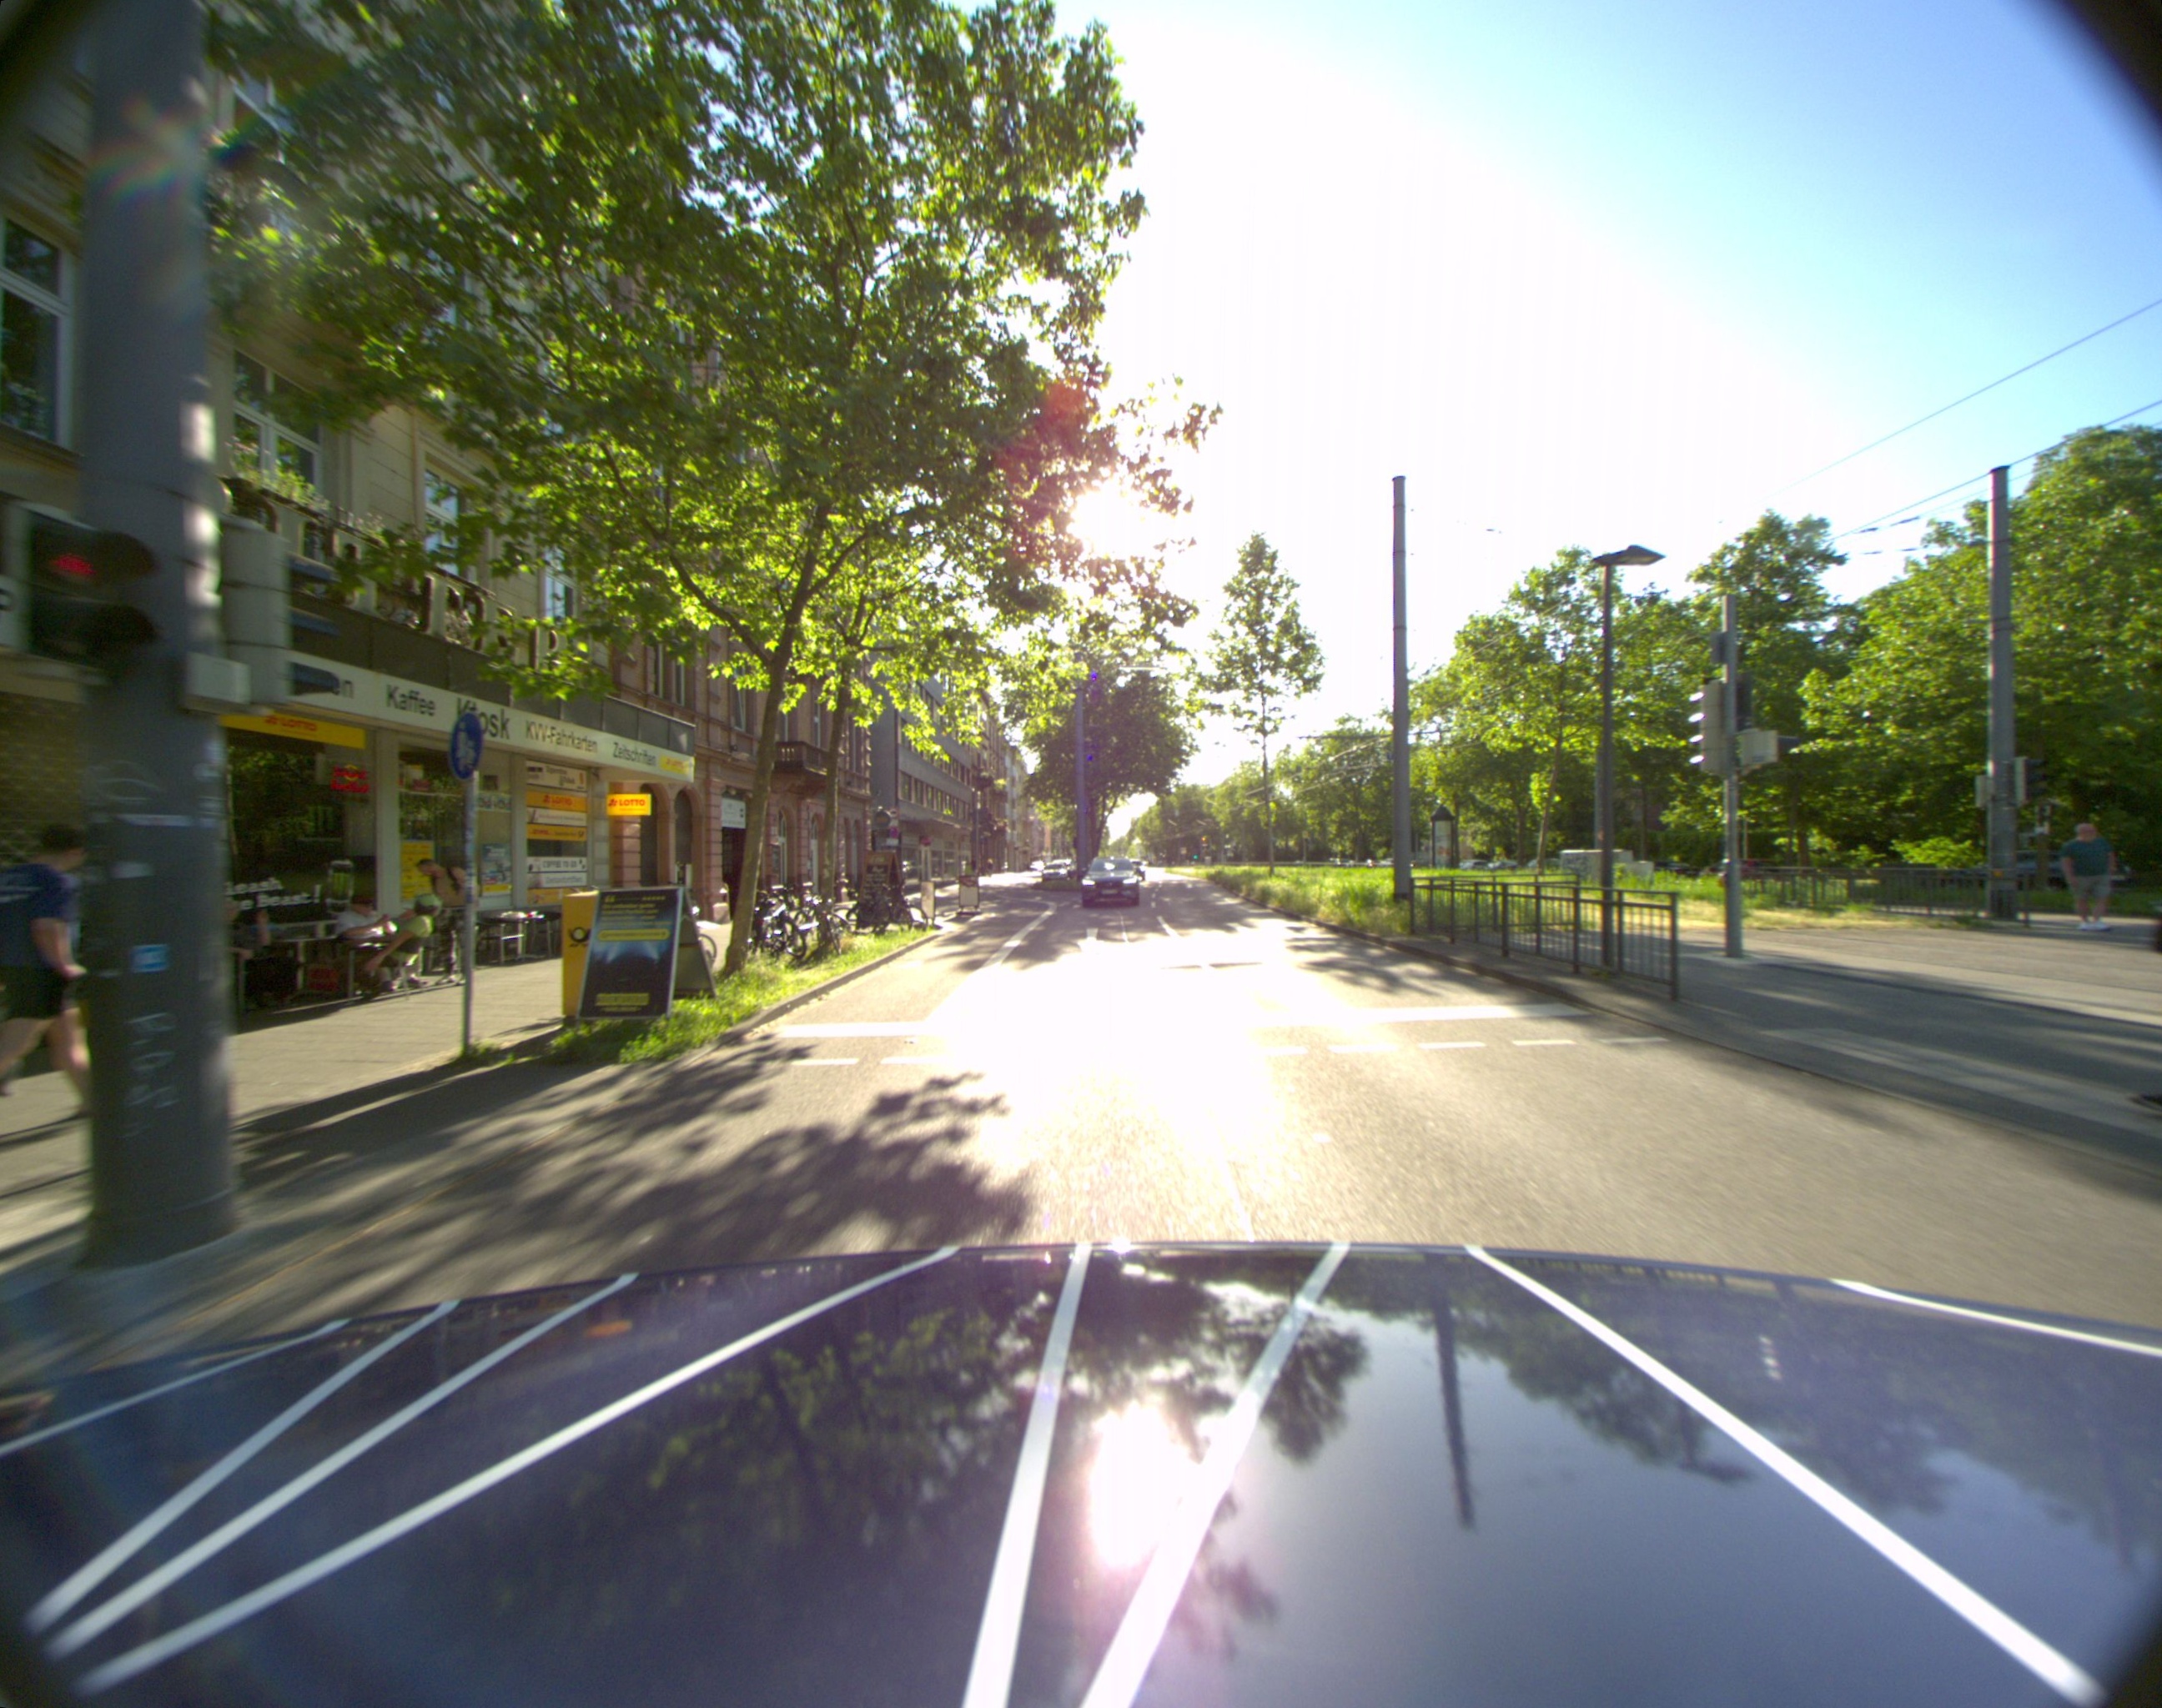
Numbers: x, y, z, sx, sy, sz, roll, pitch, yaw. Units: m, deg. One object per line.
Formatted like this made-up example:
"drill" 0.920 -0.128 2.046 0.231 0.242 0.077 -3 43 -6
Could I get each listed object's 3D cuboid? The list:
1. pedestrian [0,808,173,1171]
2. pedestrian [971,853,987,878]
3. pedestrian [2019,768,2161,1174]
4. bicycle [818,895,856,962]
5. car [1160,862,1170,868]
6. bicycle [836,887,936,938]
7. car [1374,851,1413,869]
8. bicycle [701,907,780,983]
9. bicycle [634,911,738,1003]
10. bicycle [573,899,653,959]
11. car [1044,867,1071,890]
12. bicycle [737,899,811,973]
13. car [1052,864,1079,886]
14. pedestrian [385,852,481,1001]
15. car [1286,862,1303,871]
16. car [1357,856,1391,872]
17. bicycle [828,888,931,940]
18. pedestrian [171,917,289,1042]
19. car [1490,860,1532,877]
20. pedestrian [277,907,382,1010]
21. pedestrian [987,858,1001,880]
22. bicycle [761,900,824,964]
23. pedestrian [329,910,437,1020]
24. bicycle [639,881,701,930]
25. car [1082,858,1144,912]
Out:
"pedestrian" -6.394 0.763 4.524 0.884 2.002 0.857 -3 0 4
"pedestrian" -7.538 0.850 56.125 1.002 1.829 0.715 -1 0 3
"pedestrian" 5.588 0.541 3.523 1.075 1.905 1.127 -1 0 -1
"bicycle" -4.157 1.233 13.007 0.444 0.987 1.687 -2 0 -13
"car" 20.666 2.675 186.704 1.849 1.521 3.874 -3 -1 -1
"bicycle" -4.233 1.264 16.570 2.009 0.987 0.444 -3 0 -1
"car" 31.806 0.602 77.479 1.999 1.673 4.514 -3 -1 -2
"bicycle" -5.311 1.393 11.961 0.444 0.987 1.689 -3 0 0
"bicycle" -5.169 1.317 10.053 0.444 0.987 1.689 -3 0 0
"bicycle" -8.831 1.391 14.416 0.444 0.987 1.689 -3 0 0
"car" -1.613 1.693 53.387 1.705 1.415 4.517 -3 -1 0
"bicycle" -4.801 1.254 11.980 0.444 0.987 1.689 -3 0 0
"car" -1.164 1.639 60.768 1.810 1.481 4.920 -3 0 2
"pedestrian" -8.250 0.892 9.687 0.468 1.800 0.775 -3 0 32
"car" 31.252 1.785 111.268 1.624 1.214 3.763 -1 0 1
"car" 31.885 1.101 82.844 1.999 1.612 4.000 -3 -1 -2
"bicycle" -4.255 1.256 16.079 2.019 0.987 0.444 -3 0 -1
"pedestrian" -8.864 1.276 7.944 0.653 1.154 0.672 -2 0 -35
"car" 31.091 1.017 55.057 1.404 1.193 2.845 -1 0 0
"pedestrian" -9.218 1.260 9.350 0.648 1.154 0.610 -2 0 -10
"pedestrian" -7.026 1.190 61.389 1.002 1.750 0.715 -3 0 1
"bicycle" -5.191 1.383 13.756 0.444 0.987 1.689 -3 0 0
"pedestrian" -8.087 1.264 8.831 0.775 1.154 0.468 -2 0 -24
"bicycle" -9.236 1.137 17.140 0.444 0.987 1.689 -3 0 0
"car" 1.121 1.038 26.668 1.968 1.663 4.001 -3 -1 2
